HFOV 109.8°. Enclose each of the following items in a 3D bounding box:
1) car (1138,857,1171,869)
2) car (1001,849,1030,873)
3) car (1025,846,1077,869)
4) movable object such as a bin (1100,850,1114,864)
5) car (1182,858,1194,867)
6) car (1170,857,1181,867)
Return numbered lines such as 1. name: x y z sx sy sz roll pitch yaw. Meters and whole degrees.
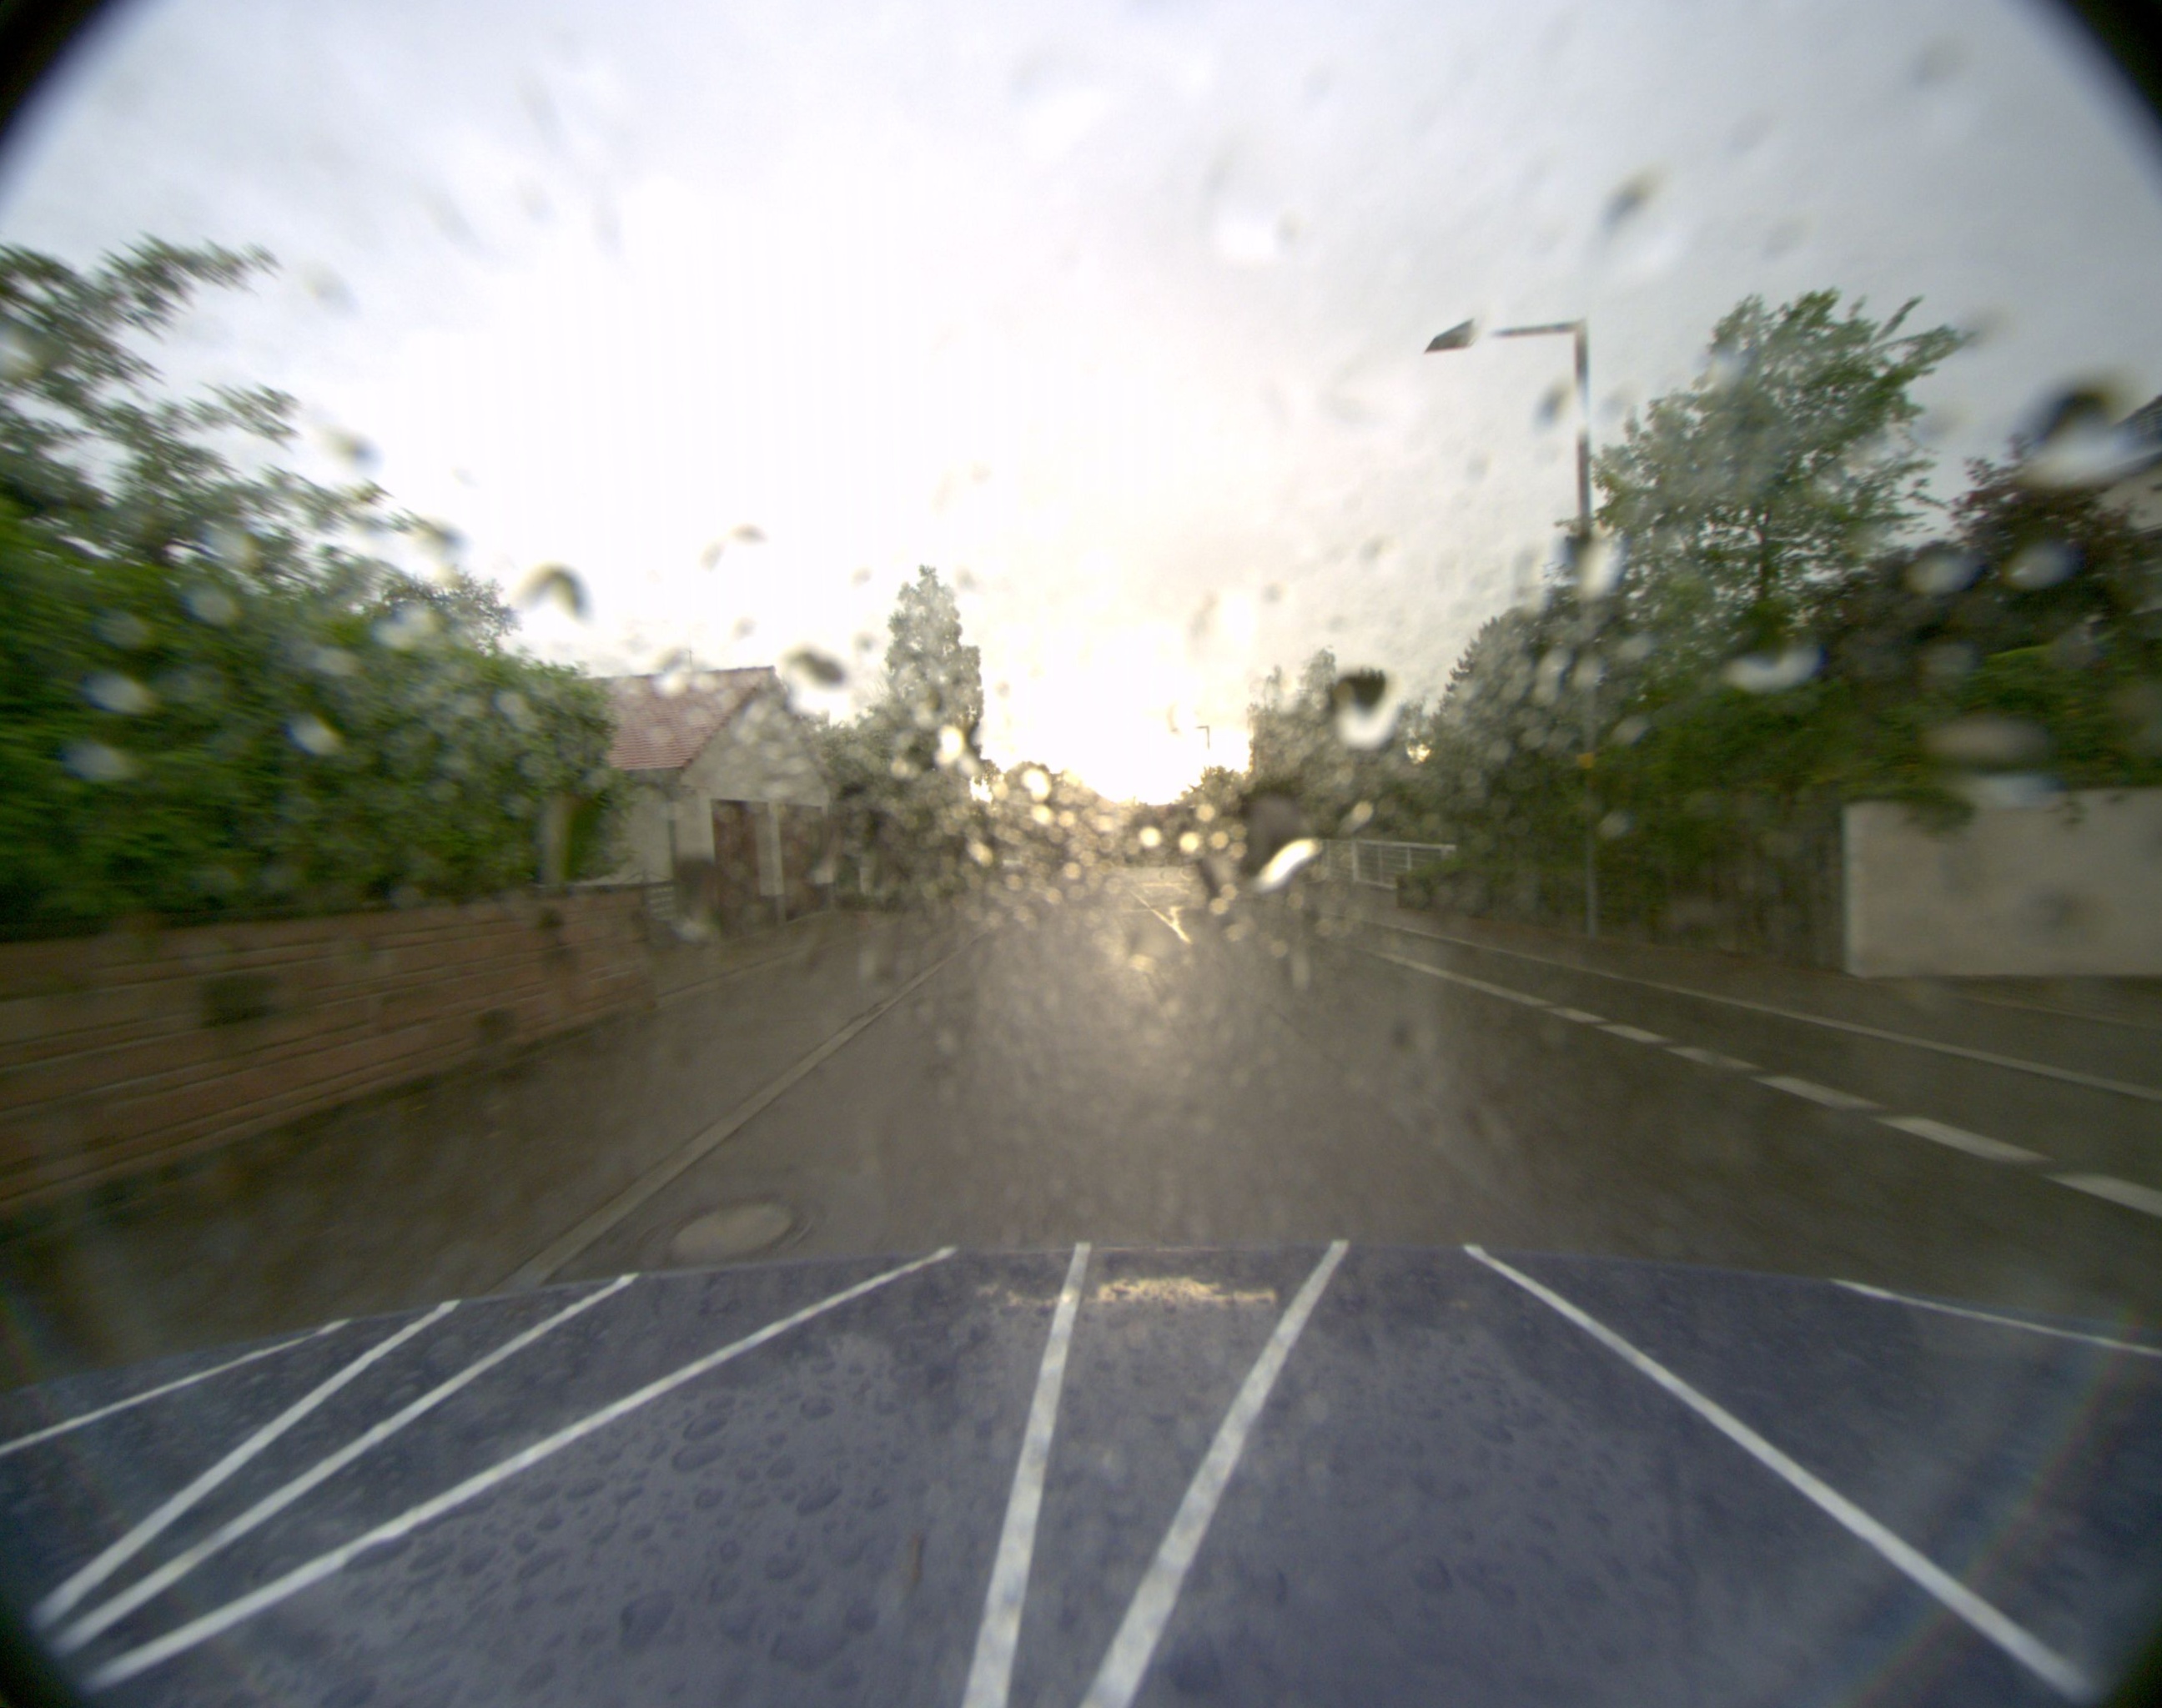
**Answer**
1. car: 10.733 1.310 111.149 4.533 1.650 1.858 -1 -2 11
2. car: -4.403 0.465 51.673 1.535 1.526 3.845 0 0 2
3. car: -2.760 0.331 69.146 4.335 1.706 1.731 -5 0 29
4. movable object such as a bin: 2.933 0.299 84.712 1.245 1.488 0.982 -1 -1 -17
5. car: 20.743 1.563 147.530 1.723 1.554 3.793 0 3 0
6. car: 18.270 1.570 147.151 1.794 1.584 4.256 0 3 5
